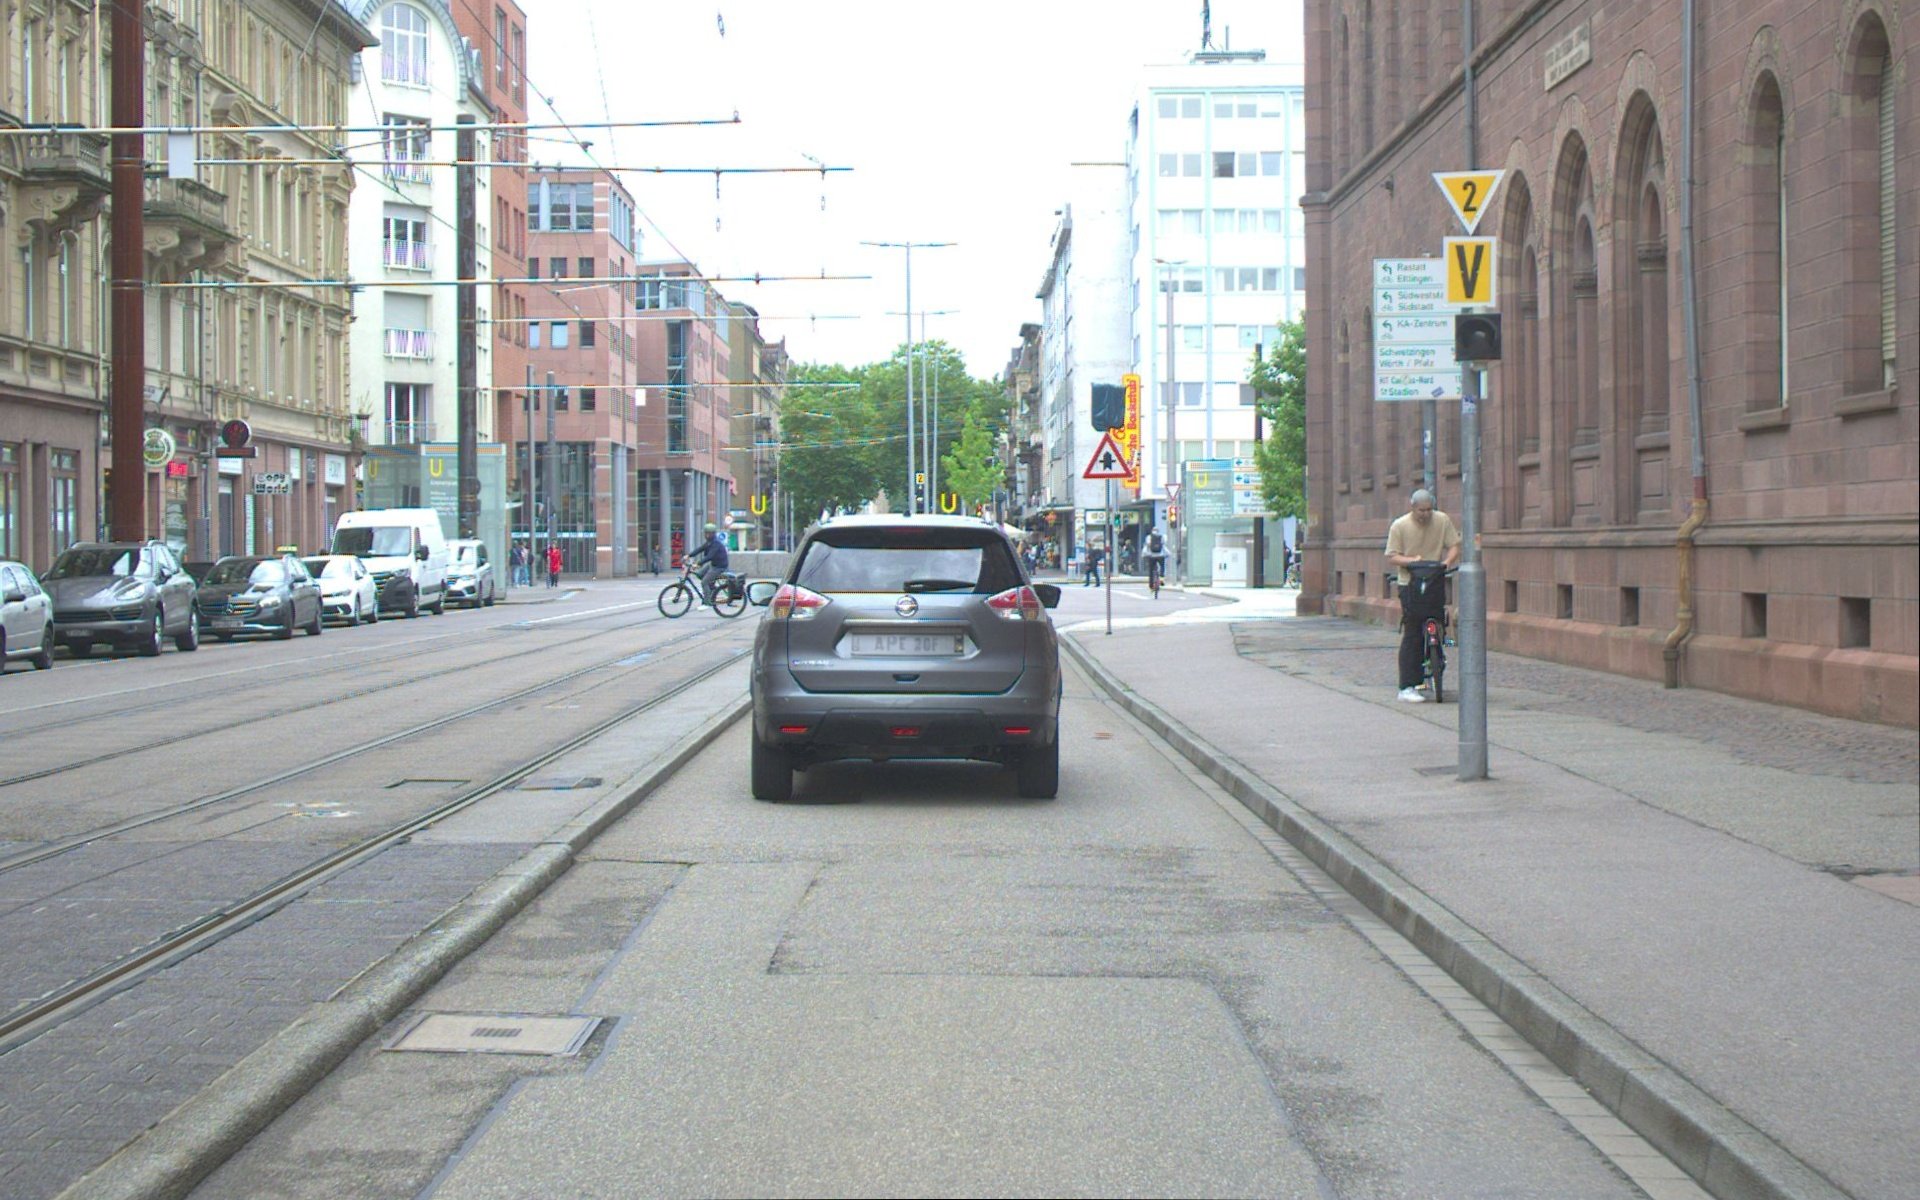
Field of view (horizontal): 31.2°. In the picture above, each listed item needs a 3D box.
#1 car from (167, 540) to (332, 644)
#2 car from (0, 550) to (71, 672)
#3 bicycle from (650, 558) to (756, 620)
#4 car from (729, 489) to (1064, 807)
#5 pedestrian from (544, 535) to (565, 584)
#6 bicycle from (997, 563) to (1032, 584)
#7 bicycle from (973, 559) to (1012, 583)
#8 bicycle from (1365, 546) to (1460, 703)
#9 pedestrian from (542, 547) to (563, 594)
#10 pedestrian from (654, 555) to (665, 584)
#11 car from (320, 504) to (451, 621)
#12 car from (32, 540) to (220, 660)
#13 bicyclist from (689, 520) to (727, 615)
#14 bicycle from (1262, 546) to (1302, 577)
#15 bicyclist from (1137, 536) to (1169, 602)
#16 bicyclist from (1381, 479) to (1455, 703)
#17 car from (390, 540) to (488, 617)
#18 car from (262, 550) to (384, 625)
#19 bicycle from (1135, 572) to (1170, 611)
[{"bbox_3d":[-12.456,-0.165,60.572,1.919,1.683,5.053,-3,1,-2],"label":"car"},{"bbox_3d":[-12.655,0.127,43.664,1.743,1.483,3.920,-1,1,-1],"label":"car"},{"bbox_3d":[-5.158,-0.221,68.909,2.037,1.170,0.587,-2,0,-9],"label":"bicycle"},{"bbox_3d":[-0.380,0.221,21.684,1.863,1.768,4.567,1,1,-1],"label":"car"},{"bbox_3d":[-14.172,-1.407,120.206,0.660,1.681,0.723,0,-1,-12],"label":"pedestrian"},{"bbox_3d":[2.719,-1.326,172.714,1.695,1.062,0.437,1,0,-9],"label":"bicycle"},{"bbox_3d":[1.648,-1.457,173.096,1.867,1.168,0.531,1,0,-9],"label":"bicycle"},{"bbox_3d":[3.826,0.189,29.201,0.445,1.272,2.227,-2,1,-1],"label":"bicycle"},{"bbox_3d":[-14.766,-1.084,124.510,0.720,1.681,0.662,0,-1,-10],"label":"pedestrian"},{"bbox_3d":[-16.354,-1.664,186.945,0.448,1.527,0.522,1,0,-18],"label":"pedestrian"},{"bbox_3d":[-13.026,-0.862,78.316,2.052,2.478,5.666,-3,1,-1],"label":"car"},{"bbox_3d":[-12.499,-0.042,51.812,1.813,1.684,5.032,-1,1,-3],"label":"car"},{"bbox_3d":[-5.055,-0.648,68.932,0.645,1.877,1.028,1,0,1],"label":"bicyclist"},{"bbox_3d":[10.521,-1.263,112.322,0.659,0.975,1.752,0,1,28],"label":"bicycle"},{"bbox_3d":[5.321,-0.859,94.919,0.834,1.806,0.877,1,0,2],"label":"bicyclist"},{"bbox_3d":[3.837,-0.076,28.826,0.528,1.852,0.450,-1,0,-1],"label":"bicyclist"},{"bbox_3d":[-13.416,-0.564,88.701,1.902,1.858,4.521,-2,1,-2],"label":"car"},{"bbox_3d":[-12.995,-0.276,70.368,1.771,1.418,4.165,-3,1,-2],"label":"car"},{"bbox_3d":[5.314,-0.242,94.986,0.902,1.041,3.277,0,0,2],"label":"bicycle"}]
